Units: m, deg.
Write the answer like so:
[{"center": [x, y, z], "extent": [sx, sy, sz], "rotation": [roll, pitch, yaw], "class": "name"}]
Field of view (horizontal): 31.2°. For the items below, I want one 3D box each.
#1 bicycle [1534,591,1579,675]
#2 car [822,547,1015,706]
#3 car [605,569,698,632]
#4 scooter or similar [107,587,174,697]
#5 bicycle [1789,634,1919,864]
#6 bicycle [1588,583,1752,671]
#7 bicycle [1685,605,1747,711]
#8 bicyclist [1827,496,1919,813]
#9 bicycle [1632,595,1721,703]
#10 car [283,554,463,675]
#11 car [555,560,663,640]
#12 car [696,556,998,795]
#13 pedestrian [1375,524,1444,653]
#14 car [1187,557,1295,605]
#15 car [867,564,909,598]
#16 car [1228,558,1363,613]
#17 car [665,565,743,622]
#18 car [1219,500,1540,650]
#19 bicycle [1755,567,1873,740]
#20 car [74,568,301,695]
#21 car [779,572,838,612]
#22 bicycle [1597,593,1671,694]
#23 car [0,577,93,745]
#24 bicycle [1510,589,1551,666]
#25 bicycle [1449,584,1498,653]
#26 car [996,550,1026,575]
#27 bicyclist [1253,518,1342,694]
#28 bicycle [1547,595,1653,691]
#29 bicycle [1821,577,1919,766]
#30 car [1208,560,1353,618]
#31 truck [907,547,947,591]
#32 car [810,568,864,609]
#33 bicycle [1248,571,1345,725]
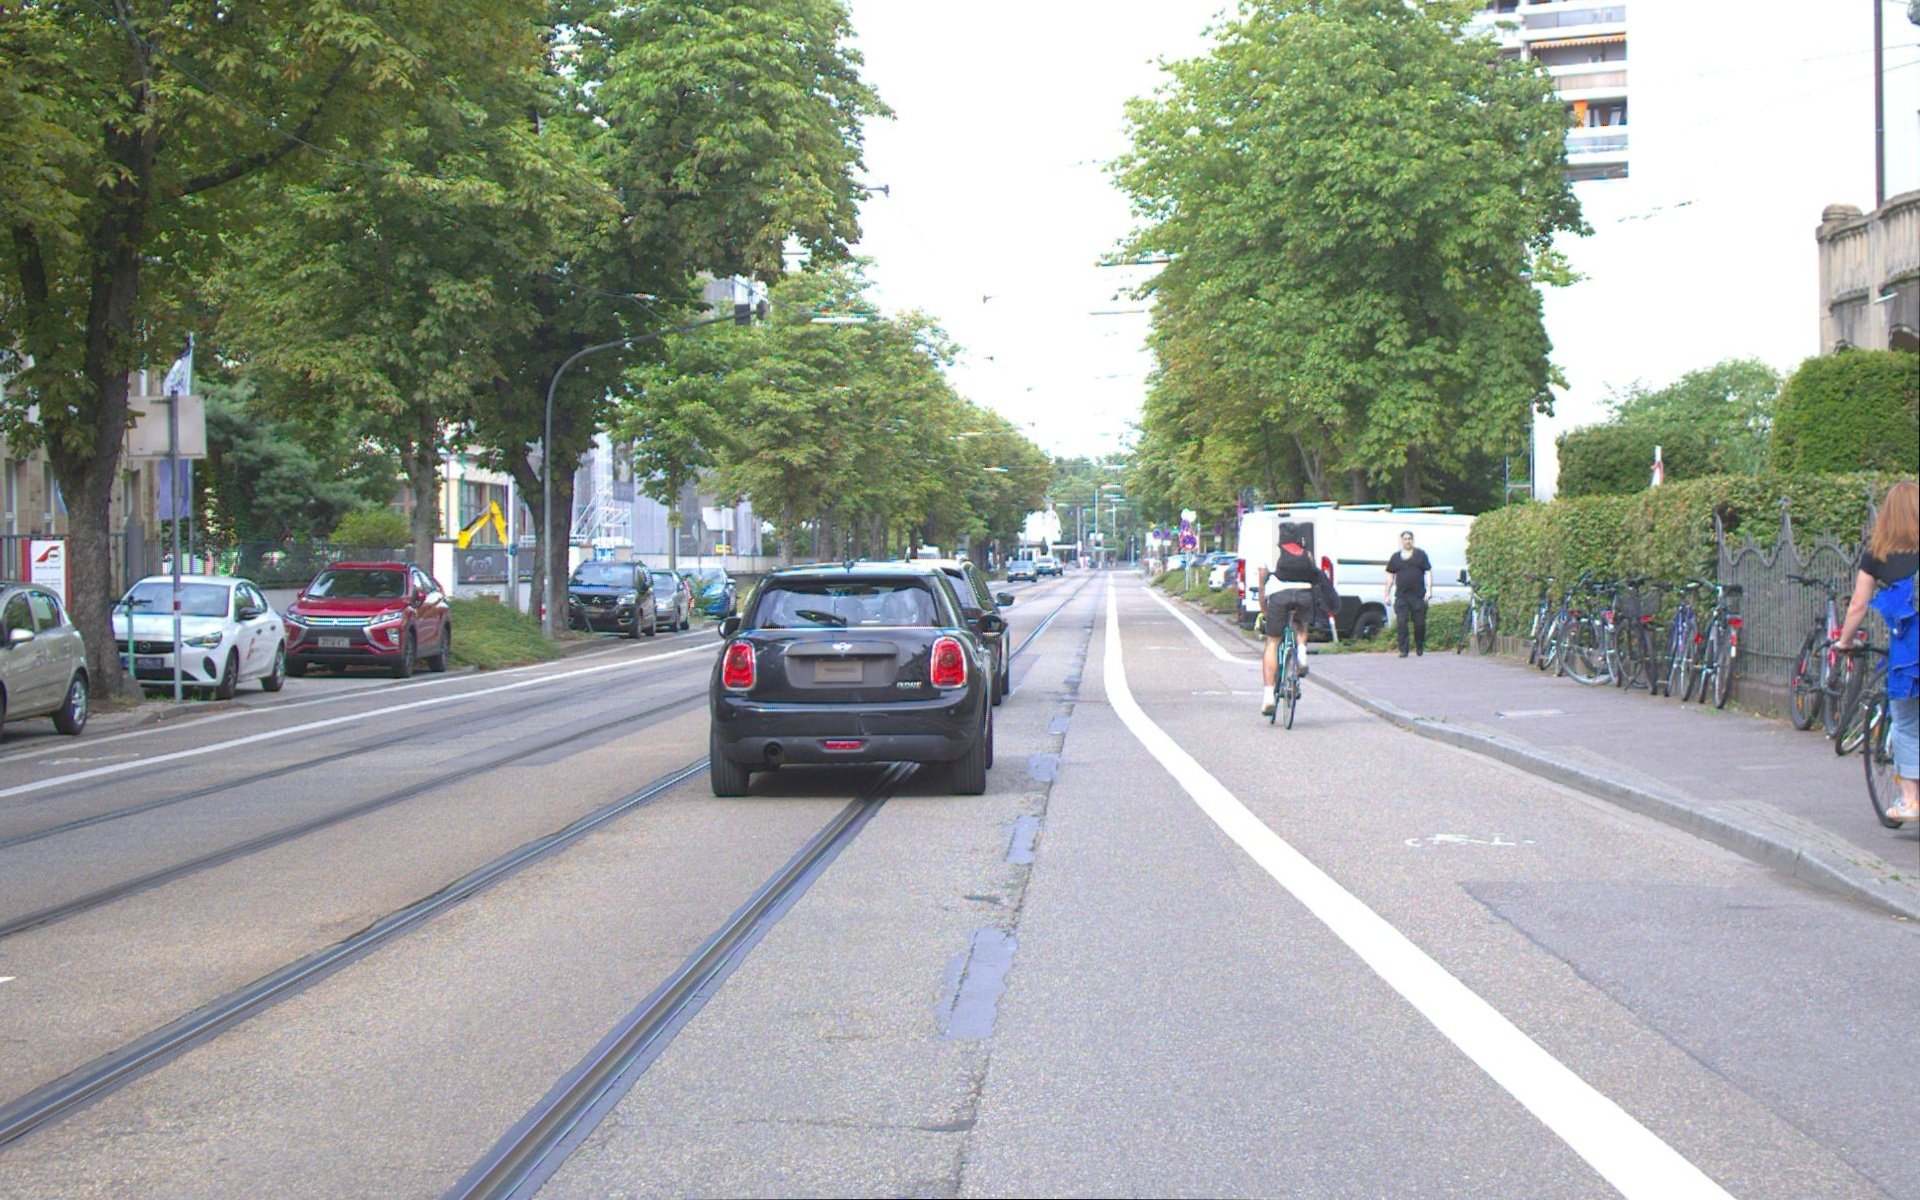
[{"center": [6.639, 0.358, 38.277], "extent": [0.386, 0.904, 1.664], "rotation": [-2, 0, 7], "class": "bicycle"}, {"center": [-0.417, 0.228, 34.535], "extent": [1.793, 1.465, 4.000], "rotation": [1, 1, -1], "class": "car"}, {"center": [-7.151, -0.004, 79.933], "extent": [1.693, 1.423, 3.868], "rotation": [0, 1, 2], "class": "car"}, {"center": [-9.300, 0.463, 38.999], "extent": [0.561, 1.218, 1.324], "rotation": [0, 1, -21], "class": "scooter or similar"}, {"center": [4.606, 0.686, 16.574], "extent": [0.688, 0.959, 2.036], "rotation": [-3, 1, 0], "class": "bicycle"}, {"center": [7.714, 0.290, 37.389], "extent": [1.659, 0.904, 0.487], "rotation": [-2, 0, 1], "class": "bicycle"}, {"center": [6.231, 0.469, 28.345], "extent": [0.278, 0.849, 1.198], "rotation": [-2, 0, 3], "class": "bicycle"}, {"center": [4.591, 0.236, 16.390], "extent": [0.647, 1.465, 0.800], "rotation": [-3, 1, 0], "class": "bicyclist"}, {"center": [6.272, 0.420, 30.157], "extent": [0.486, 0.904, 1.665], "rotation": [-2, 0, 3], "class": "bicycle"}, {"center": [-8.579, 0.183, 50.572], "extent": [1.721, 1.649, 4.542], "rotation": [2, 1, 2], "class": "car"}, {"center": [-7.441, -0.029, 73.257], "extent": [1.756, 1.641, 4.052], "rotation": [0, 1, 2], "class": "car"}, {"center": [-0.667, 0.428, 22.493], "extent": [1.793, 1.418, 4.000], "rotation": [0, 1, 0], "class": "car"}, {"center": [6.225, -0.166, 47.670], "extent": [0.785, 1.727, 0.896], "rotation": [-3, 0, 2], "class": "pedestrian"}, {"center": [9.428, -0.656, 115.305], "extent": [3.436, 1.567, 1.560], "rotation": [-1, 1, -36], "class": "car"}, {"center": [-3.462, -0.935, 165.989], "extent": [1.802, 1.578, 4.031], "rotation": [-2, 0, 2], "class": "car"}, {"center": [9.333, -0.404, 95.511], "extent": [3.729, 1.517, 1.640], "rotation": [0, 0, -42], "class": "car"}, {"center": [-6.814, -0.187, 91.824], "extent": [1.693, 1.482, 3.677], "rotation": [0, 1, 2], "class": "car"}, {"center": [6.752, -0.395, 55.032], "extent": [4.944, 2.282, 2.384], "rotation": [0, 0, -40], "class": "car"}, {"center": [5.979, 0.352, 24.135], "extent": [0.391, 1.138, 1.921], "rotation": [-2, 1, 3], "class": "bicycle"}, {"center": [-9.338, 0.347, 41.844], "extent": [1.721, 1.419, 4.023], "rotation": [2, 1, 2], "class": "car"}, {"center": [-5.501, -0.306, 125.497], "extent": [1.802, 1.369, 4.031], "rotation": [-2, 0, 2], "class": "car"}, {"center": [6.251, 0.393, 31.945], "extent": [0.486, 0.904, 1.665], "rotation": [-2, 0, 6], "class": "bicycle"}, {"center": [-9.213, 0.538, 31.025], "extent": [1.600, 1.463, 4.079], "rotation": [0, 1, 2], "class": "car"}, {"center": [6.846, 0.321, 41.260], "extent": [0.386, 0.904, 1.664], "rotation": [-2, 0, 7], "class": "bicycle"}, {"center": [6.947, 0.251, 46.530], "extent": [0.386, 0.904, 1.842], "rotation": [-2, 0, 1], "class": "bicycle"}, {"center": [3.397, -2.497, 228.152], "extent": [1.895, 1.622, 4.000], "rotation": [0, 1, -1], "class": "car"}, {"center": [2.856, 0.040, 29.147], "extent": [0.657, 1.458, 1.178], "rotation": [0, 1, 1], "class": "bicyclist"}, {"center": [6.291, 0.415, 33.858], "extent": [0.485, 0.904, 1.665], "rotation": [-2, 0, -9], "class": "bicycle"}, {"center": [5.762, 0.422, 21.428], "extent": [0.391, 1.099, 1.759], "rotation": [-2, 1, 3], "class": "bicycle"}, {"center": [8.254, -0.284, 88.332], "extent": [3.818, 1.455, 1.639], "rotation": [0, 0, -44], "class": "car"}, {"center": [-1.907, -1.766, 199.320], "extent": [2.071, 2.462, 4.899], "rotation": [-2, 0, 2], "class": "truck"}, {"center": [-4.864, -0.468, 136.112], "extent": [1.802, 1.578, 4.031], "rotation": [-2, 0, 2], "class": "car"}, {"center": [2.841, 0.382, 29.178], "extent": [0.657, 1.244, 2.125], "rotation": [0, 1, 1], "class": "bicycle"}]
